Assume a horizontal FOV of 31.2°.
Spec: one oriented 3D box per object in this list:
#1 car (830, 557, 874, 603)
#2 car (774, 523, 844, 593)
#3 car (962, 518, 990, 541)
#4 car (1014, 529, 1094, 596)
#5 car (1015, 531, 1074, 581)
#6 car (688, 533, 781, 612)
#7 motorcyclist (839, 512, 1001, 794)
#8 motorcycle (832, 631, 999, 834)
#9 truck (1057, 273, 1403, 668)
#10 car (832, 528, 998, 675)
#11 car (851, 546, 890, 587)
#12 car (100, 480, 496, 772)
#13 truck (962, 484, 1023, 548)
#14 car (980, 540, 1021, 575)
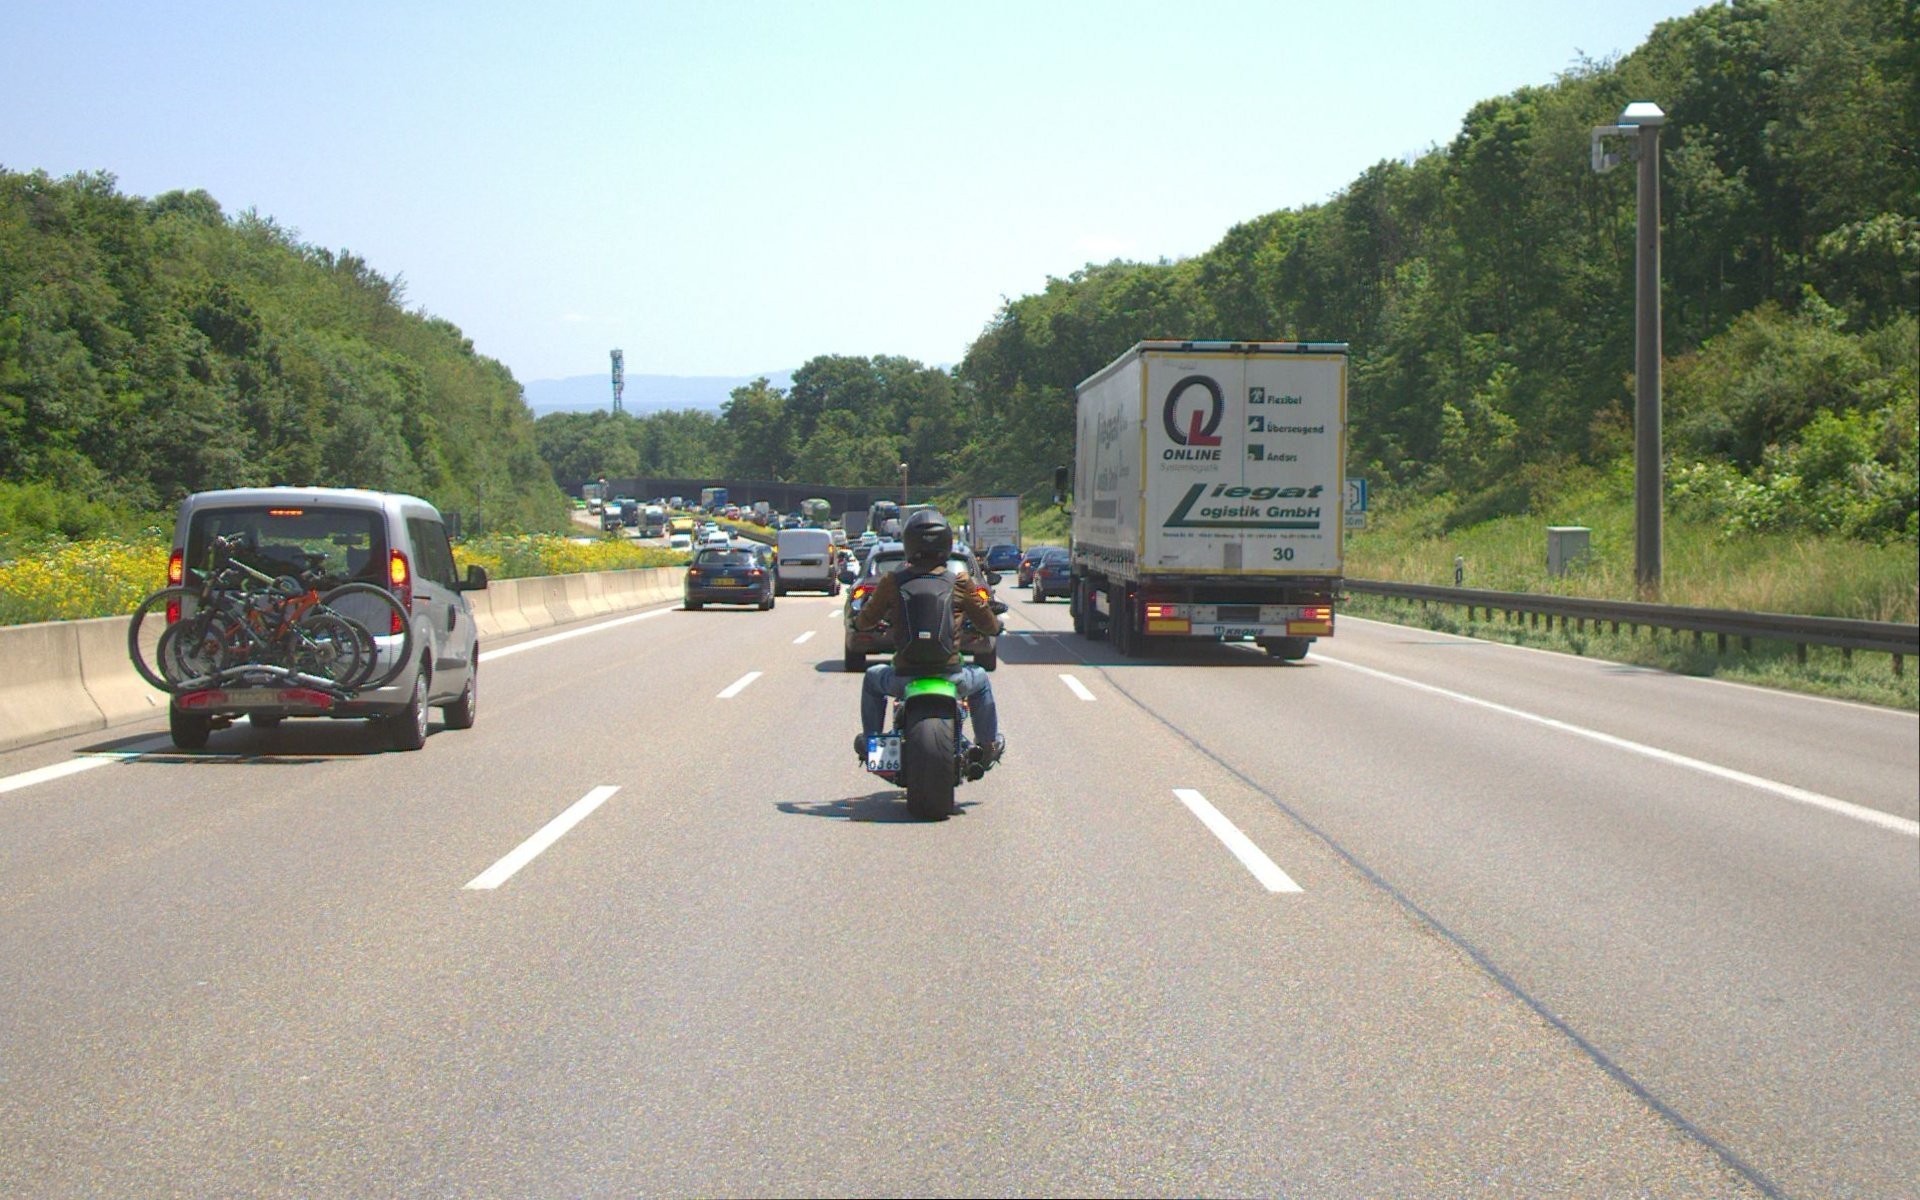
[{"bbox_3d":[-4.607,-0.872,147.106,1.831,1.804,4.120,1,2,-1],"label":"car"},{"bbox_3d":[-4.228,-1.202,96.766,1.831,1.804,4.120,1,2,-1],"label":"car"},{"bbox_3d":[1.138,-5.015,245.015,1.831,1.553,4.120,1,2,-1],"label":"car"},{"bbox_3d":[2.369,-0.967,87.492,1.831,1.553,4.120,1,2,-1],"label":"car"},{"bbox_3d":[2.832,-1.508,116.024,1.831,1.553,4.120,1,2,-1],"label":"car"},{"bbox_3d":[-4.844,-0.616,74.247,1.758,1.538,4.396,1,2,-1],"label":"car"},{"bbox_3d":[-0.213,0.273,18.942,0.856,1.509,0.914,0,1,0],"label":"motorcyclist"},{"bbox_3d":[-0.225,0.700,18.959,0.862,0.978,2.131,0,1,0],"label":"motorcycle"},{"bbox_3d":[3.545,-1.880,50.768,3.383,4.701,17.711,2,2,-1],"label":"truck"},{"bbox_3d":[-0.539,-0.028,40.984,1.845,1.552,4.440,1,2,-1],"label":"car"},{"bbox_3d":[-4.351,-1.648,167.994,1.831,1.804,4.120,1,2,-1],"label":"car"},{"bbox_3d":[-4.666,0.075,25.057,1.898,1.841,5.484,1,2,-1],"label":"car"},{"bbox_3d":[1.738,-4.676,189.426,3.067,3.335,9.653,2,2,-1],"label":"truck"},{"bbox_3d":[1.952,-2.091,167.024,1.831,1.553,4.120,1,2,-1],"label":"car"}]
